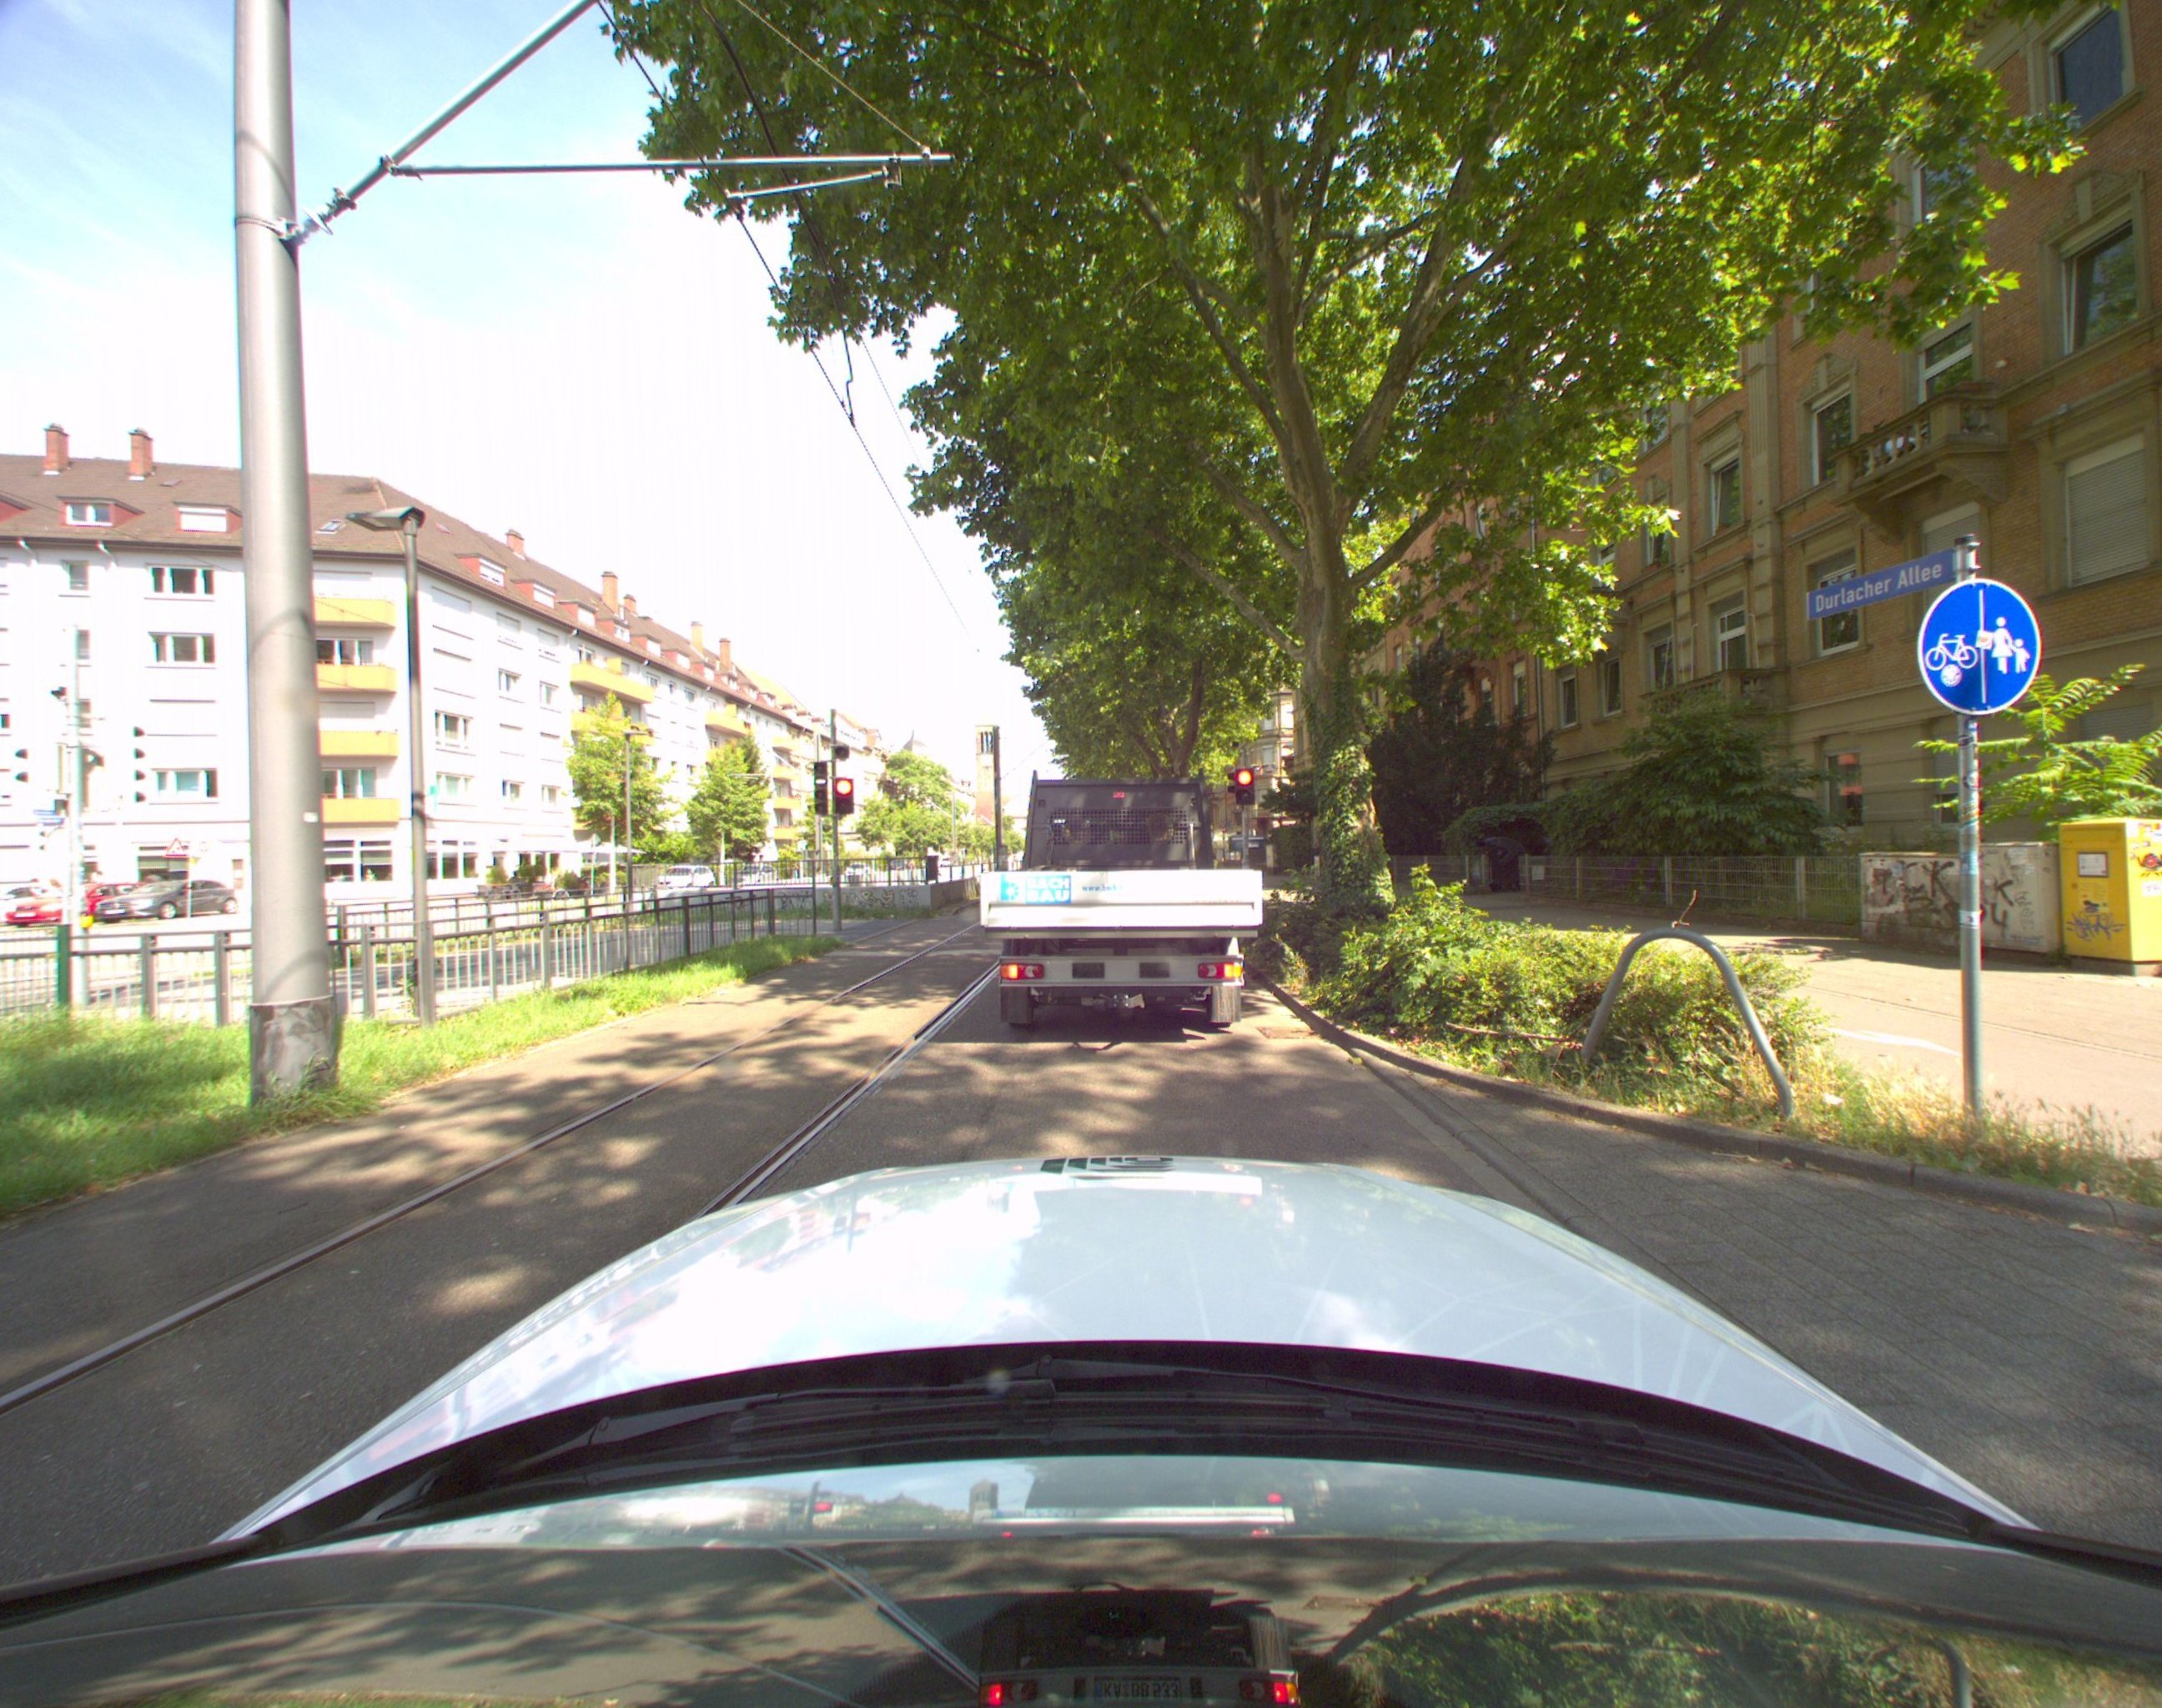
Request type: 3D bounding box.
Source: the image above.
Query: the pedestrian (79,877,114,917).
[{"bbox_3d":[-39.593,1.716,32.750,0.690,1.572,0.542,-1,0,-22],"label":"pedestrian"}]

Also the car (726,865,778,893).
[{"bbox_3d":[-20.309,1.530,50.460,1.767,1.498,3.994,-3,0,-4],"label":"car"}]

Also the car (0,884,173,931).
[{"bbox_3d":[-36.523,1.896,29.873,1.930,1.406,4.158,-2,0,-6],"label":"car"}]

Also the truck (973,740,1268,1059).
[{"bbox_3d":[0.389,0.337,8.198,2.130,2.319,4.404,-1,0,3],"label":"truck"}]

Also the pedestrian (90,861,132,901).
[{"bbox_3d":[-39.743,1.087,33.386,0.861,1.572,0.685,-1,0,-22],"label":"pedestrian"}]

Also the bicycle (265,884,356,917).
[{"bbox_3d":[-30.099,1.793,31.908,0.908,1.137,2.807,-2,0,-1],"label":"bicycle"}]

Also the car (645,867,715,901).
[{"bbox_3d":[-20.529,1.515,41.879,1.767,1.498,3.994,-3,0,-4],"label":"car"}]

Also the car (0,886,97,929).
[{"bbox_3d":[-39.311,1.982,29.706,1.930,1.406,4.158,-2,0,-6],"label":"car"}]

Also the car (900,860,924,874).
[{"bbox_3d":[-19.356,1.419,93.311,1.764,1.498,4.000,-2,0,0],"label":"car"}]

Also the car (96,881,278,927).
[{"bbox_3d":[-33.164,1.803,30.445,1.830,1.376,4.637,-2,0,-4],"label":"car"}]

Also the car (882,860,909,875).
[{"bbox_3d":[-19.439,1.404,85.470,1.764,1.498,4.000,-2,0,0],"label":"car"}]

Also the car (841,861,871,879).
[{"bbox_3d":[-19.834,1.384,71.952,1.767,1.498,3.994,-2,0,-4],"label":"car"}]
